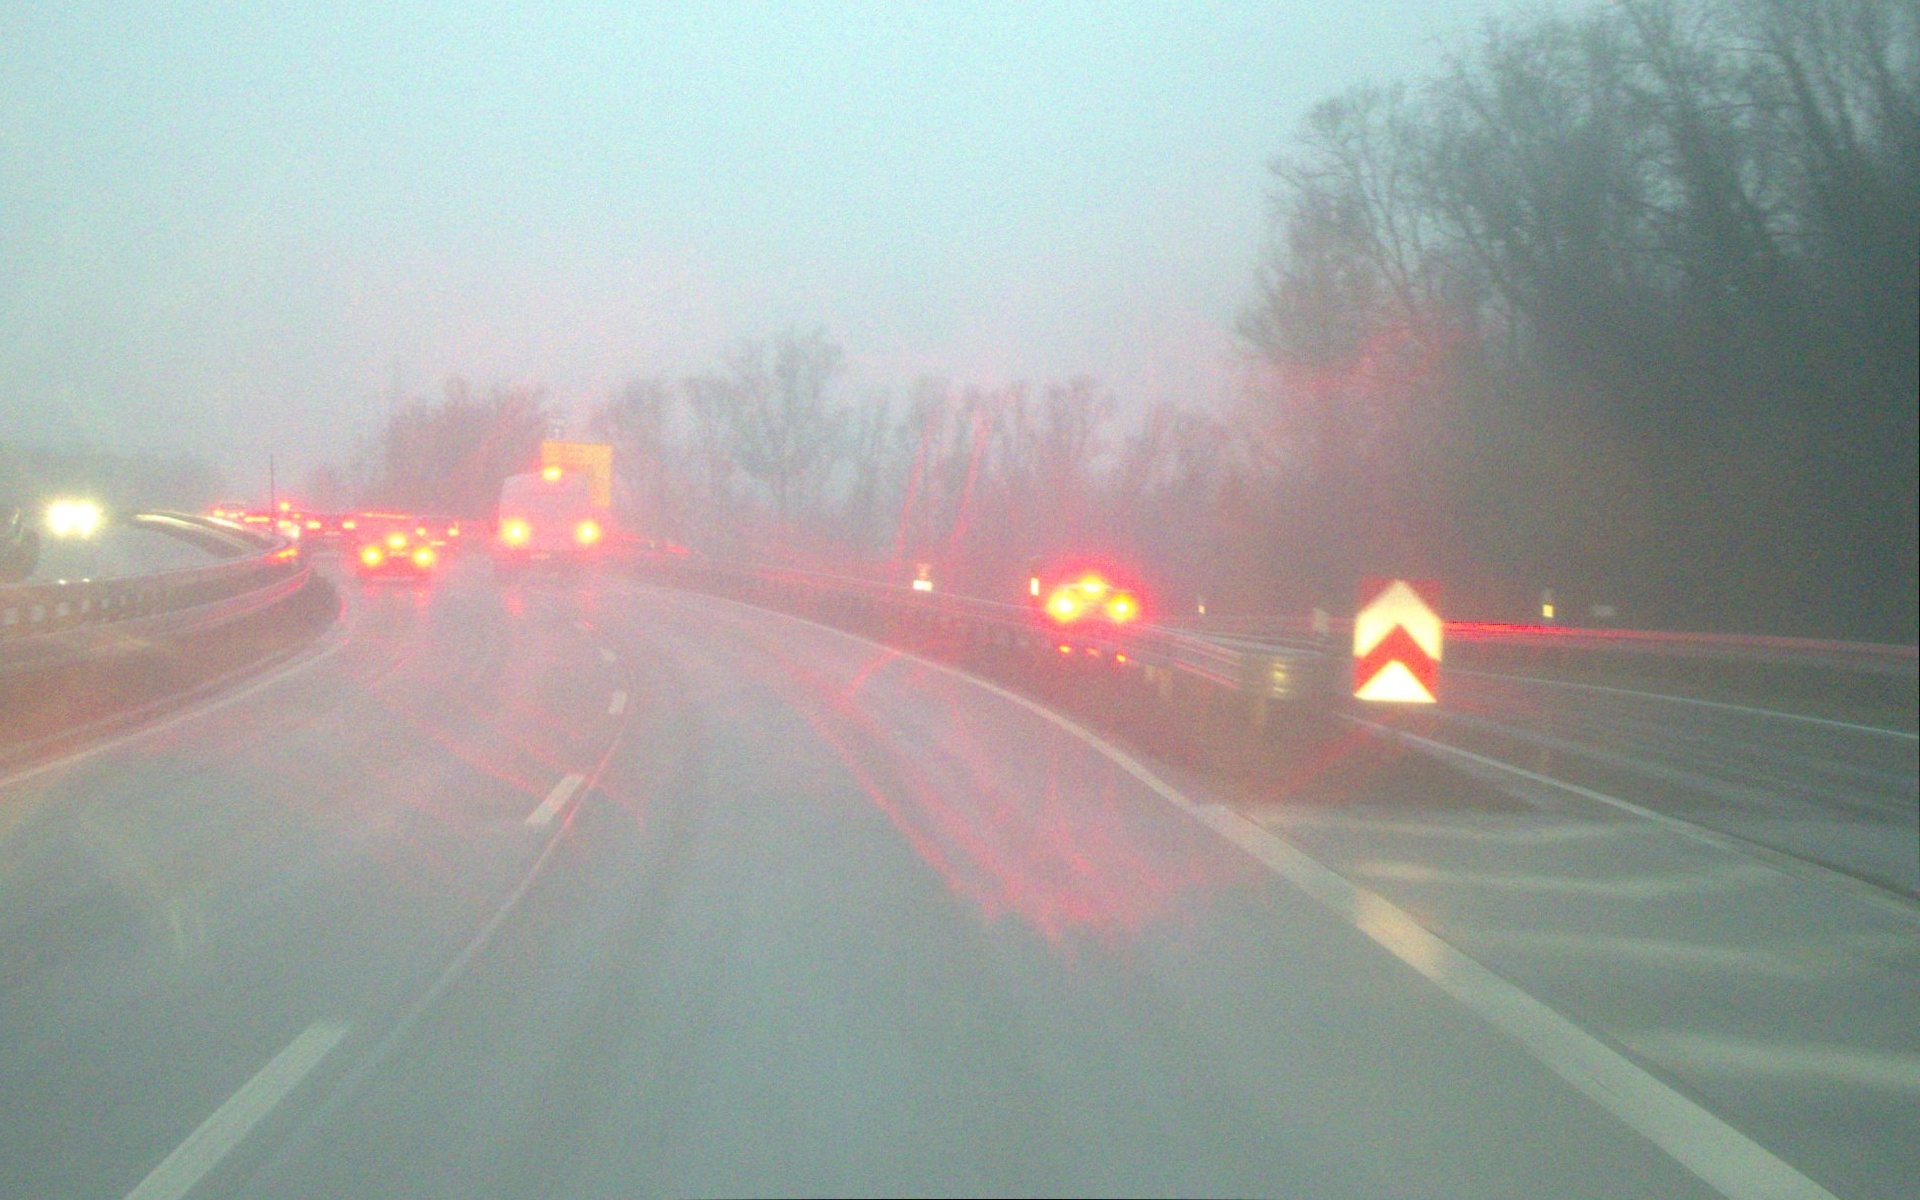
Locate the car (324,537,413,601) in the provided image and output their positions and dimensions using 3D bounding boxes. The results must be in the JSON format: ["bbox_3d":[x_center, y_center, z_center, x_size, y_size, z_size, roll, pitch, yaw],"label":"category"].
[{"bbox_3d":[-14.983,-0.761,86.969,1.834,1.532,4.001,2,-1,-15],"label":"car"}]
